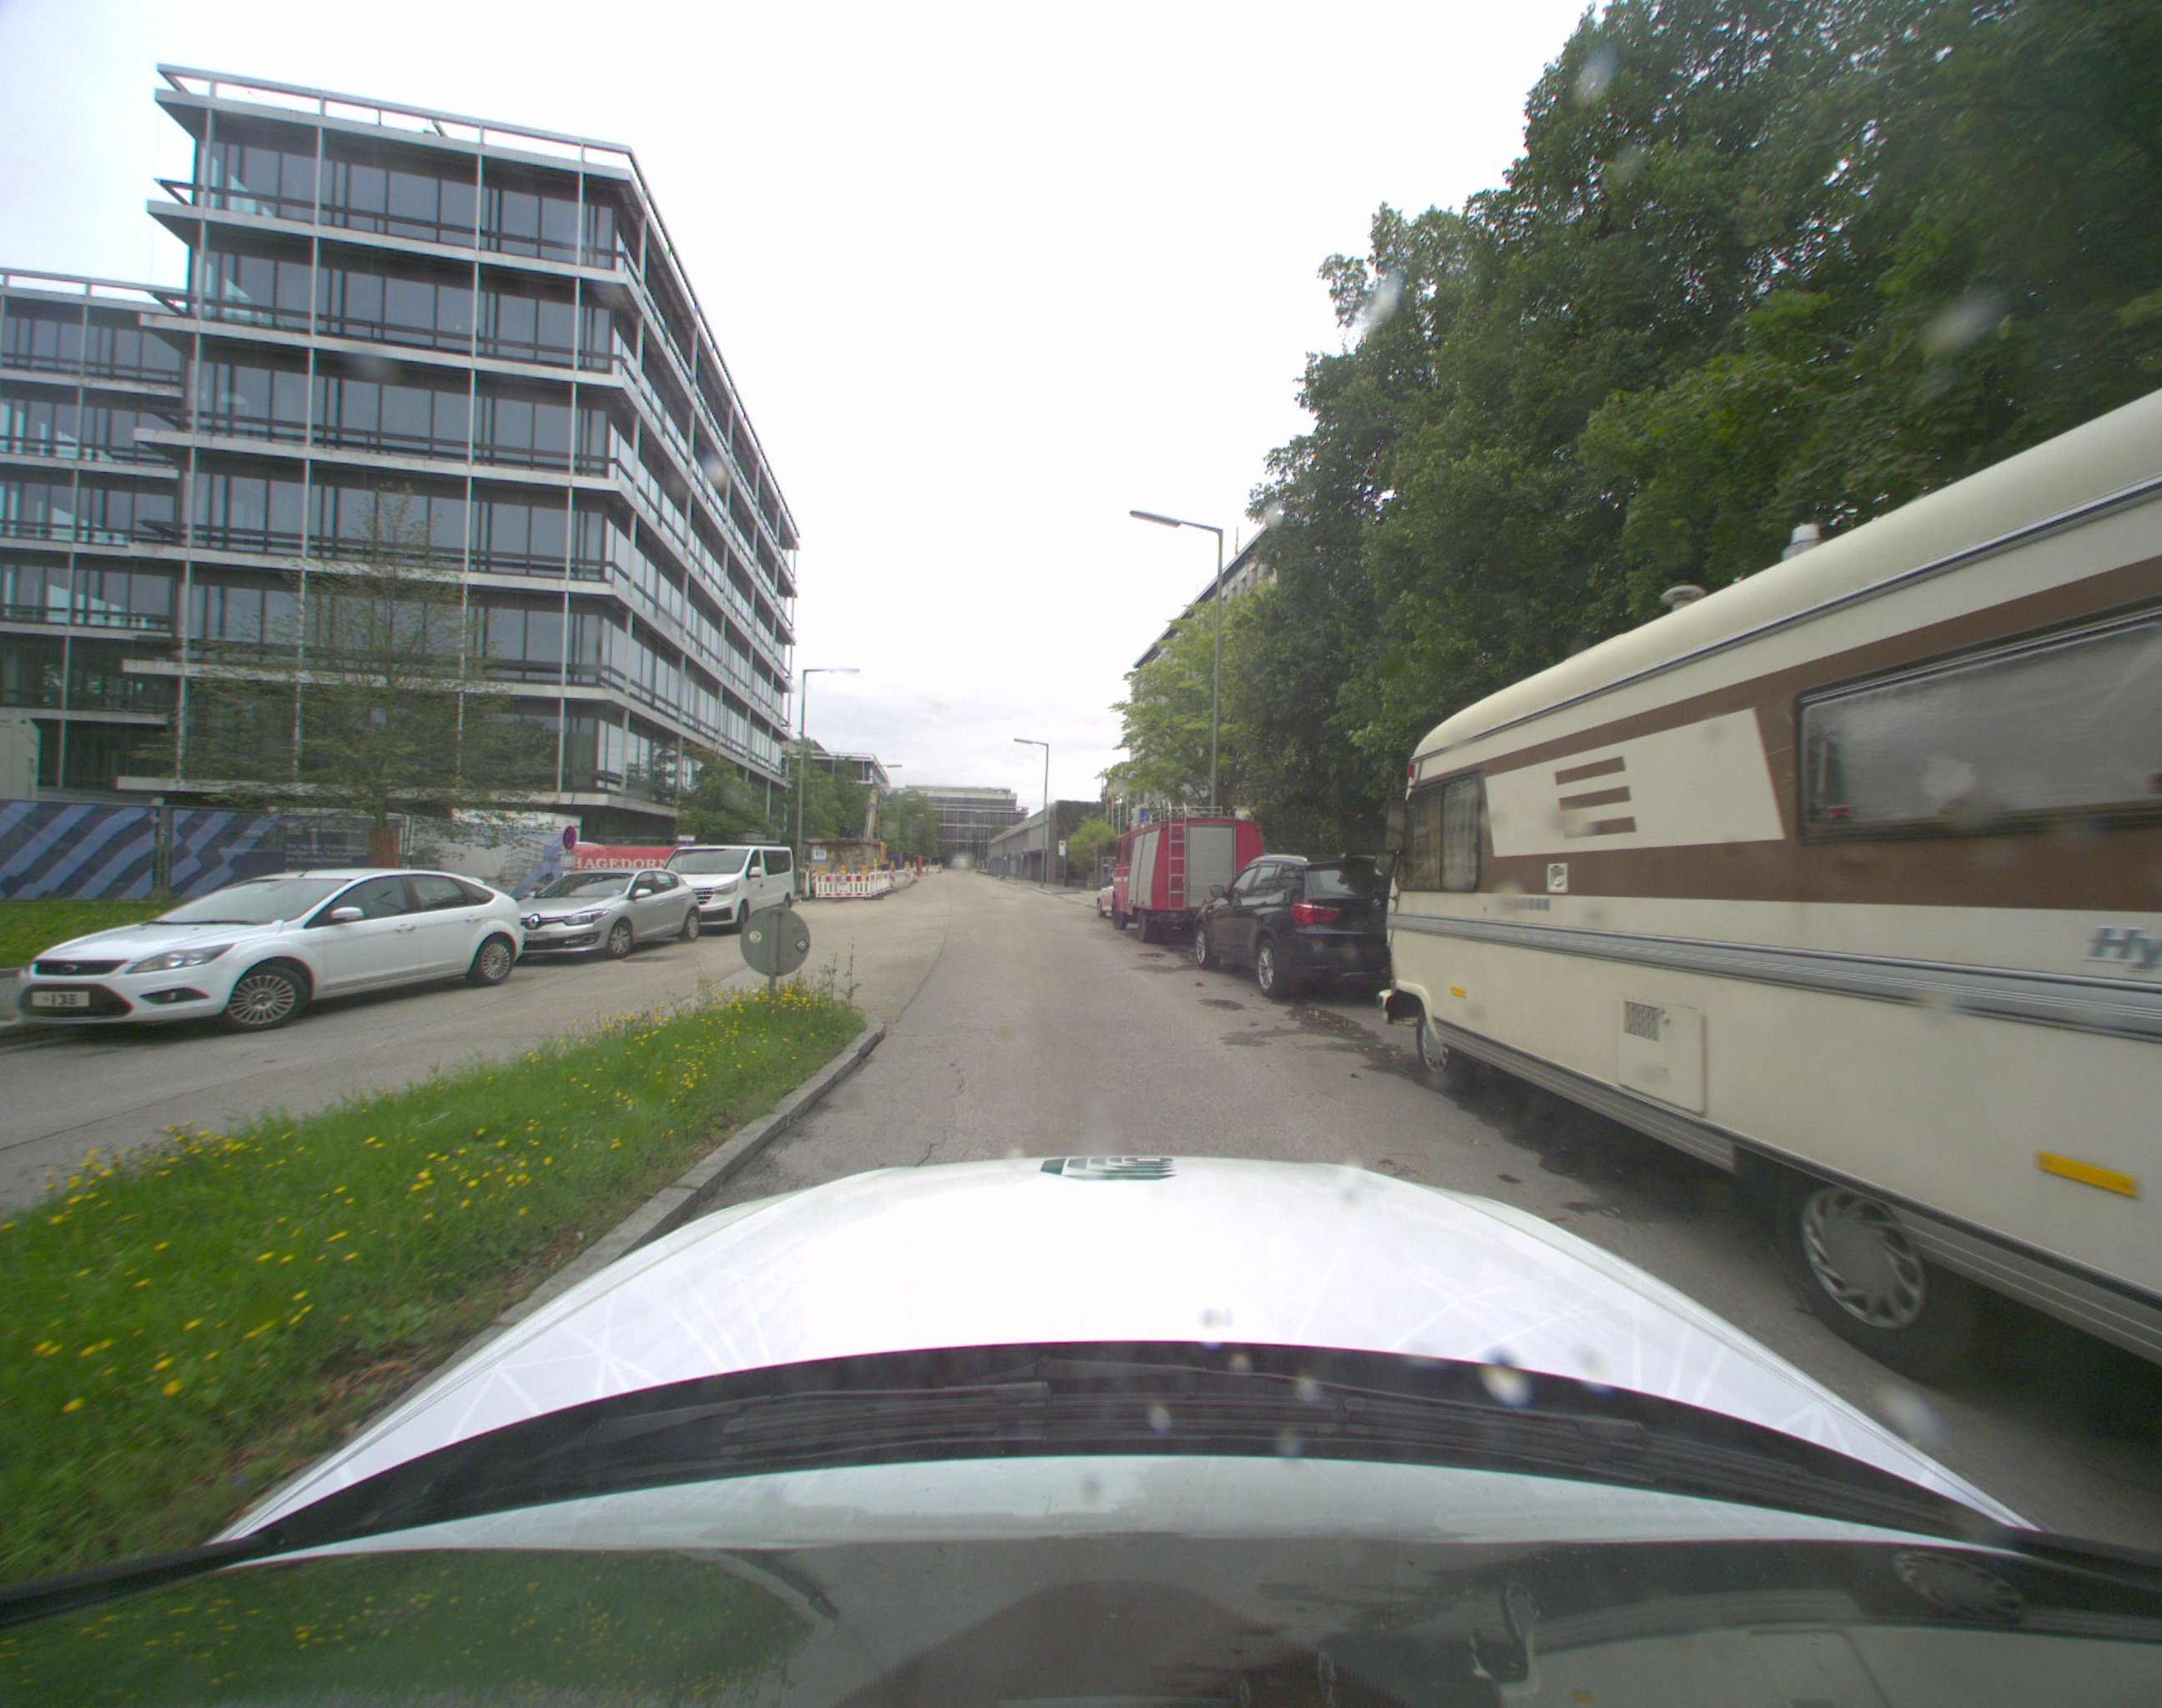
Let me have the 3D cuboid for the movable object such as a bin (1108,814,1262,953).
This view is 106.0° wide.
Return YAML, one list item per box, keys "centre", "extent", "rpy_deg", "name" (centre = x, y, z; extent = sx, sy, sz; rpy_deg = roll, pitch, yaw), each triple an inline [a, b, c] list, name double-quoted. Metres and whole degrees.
- centre: [1.987, 0.577, 17.740]
  extent: [2.100, 2.459, 6.177]
  rpy_deg: [1, -1, -4]
  name: "movable object such as a bin"

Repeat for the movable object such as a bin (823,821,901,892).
- centre: [-12.604, 0.163, 47.717]
  extent: [3.239, 3.717, 8.981]
  rpy_deg: [1, 0, -8]
  name: "movable object such as a bin"

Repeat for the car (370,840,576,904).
- centre: [-18.944, 0.569, 25.613]
  extent: [4.759, 1.922, 1.994]
  rpy_deg: [1, -1, -9]
  name: "car"

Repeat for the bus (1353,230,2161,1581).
- centre: [3.318, 0.141, 3.590]
  extent: [2.307, 2.699, 5.733]
  rpy_deg: [1, -1, 0]
  name: "bus"

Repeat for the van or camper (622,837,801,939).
- centre: [-8.319, 0.695, 19.010]
  extent: [1.990, 2.014, 5.368]
  rpy_deg: [1, 0, -4]
  name: "van or camper"

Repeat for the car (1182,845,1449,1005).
- centre: [2.754, 0.785, 10.749]
  extent: [1.774, 1.649, 4.449]
  rpy_deg: [1, -1, -7]
  name: "car"

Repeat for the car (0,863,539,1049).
- centre: [-8.296, 0.869, 8.846]
  extent: [1.759, 1.486, 4.224]
  rpy_deg: [1, -1, 3]
  name: "car"

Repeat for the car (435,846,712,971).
- centre: [-8.206, 0.791, 13.791]
  extent: [1.989, 1.728, 4.445]
  rpy_deg: [1, 0, -3]
  name: "car"

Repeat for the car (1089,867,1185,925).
- centre: [1.563, 1.180, 24.284]
  extent: [1.777, 1.550, 4.240]
  rpy_deg: [2, -1, -12]
  name: "car"
